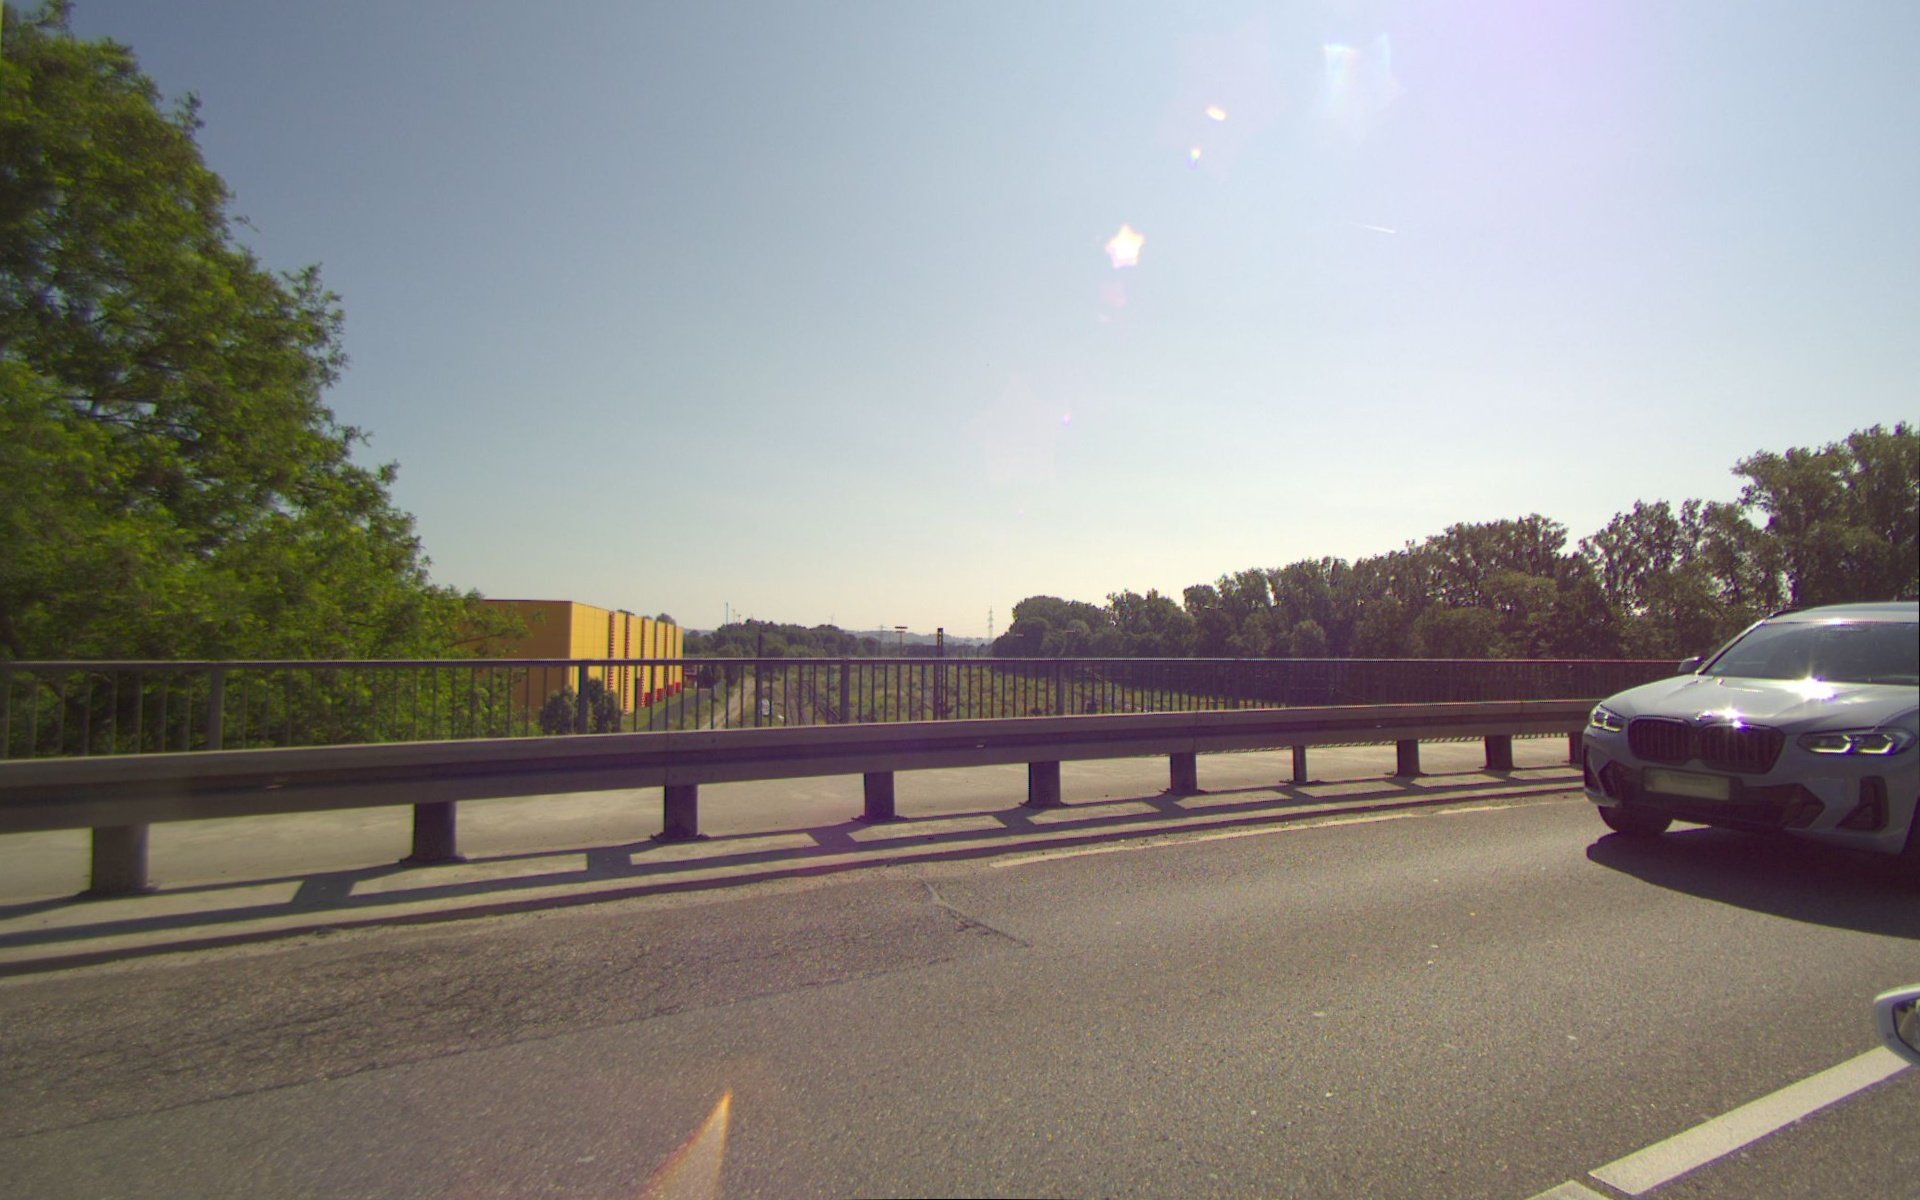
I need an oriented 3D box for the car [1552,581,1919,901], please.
[{"bbox_3d":[6.540,0.828,7.144,4.414,1.704,1.852,3,0,-26],"label":"car"}]
